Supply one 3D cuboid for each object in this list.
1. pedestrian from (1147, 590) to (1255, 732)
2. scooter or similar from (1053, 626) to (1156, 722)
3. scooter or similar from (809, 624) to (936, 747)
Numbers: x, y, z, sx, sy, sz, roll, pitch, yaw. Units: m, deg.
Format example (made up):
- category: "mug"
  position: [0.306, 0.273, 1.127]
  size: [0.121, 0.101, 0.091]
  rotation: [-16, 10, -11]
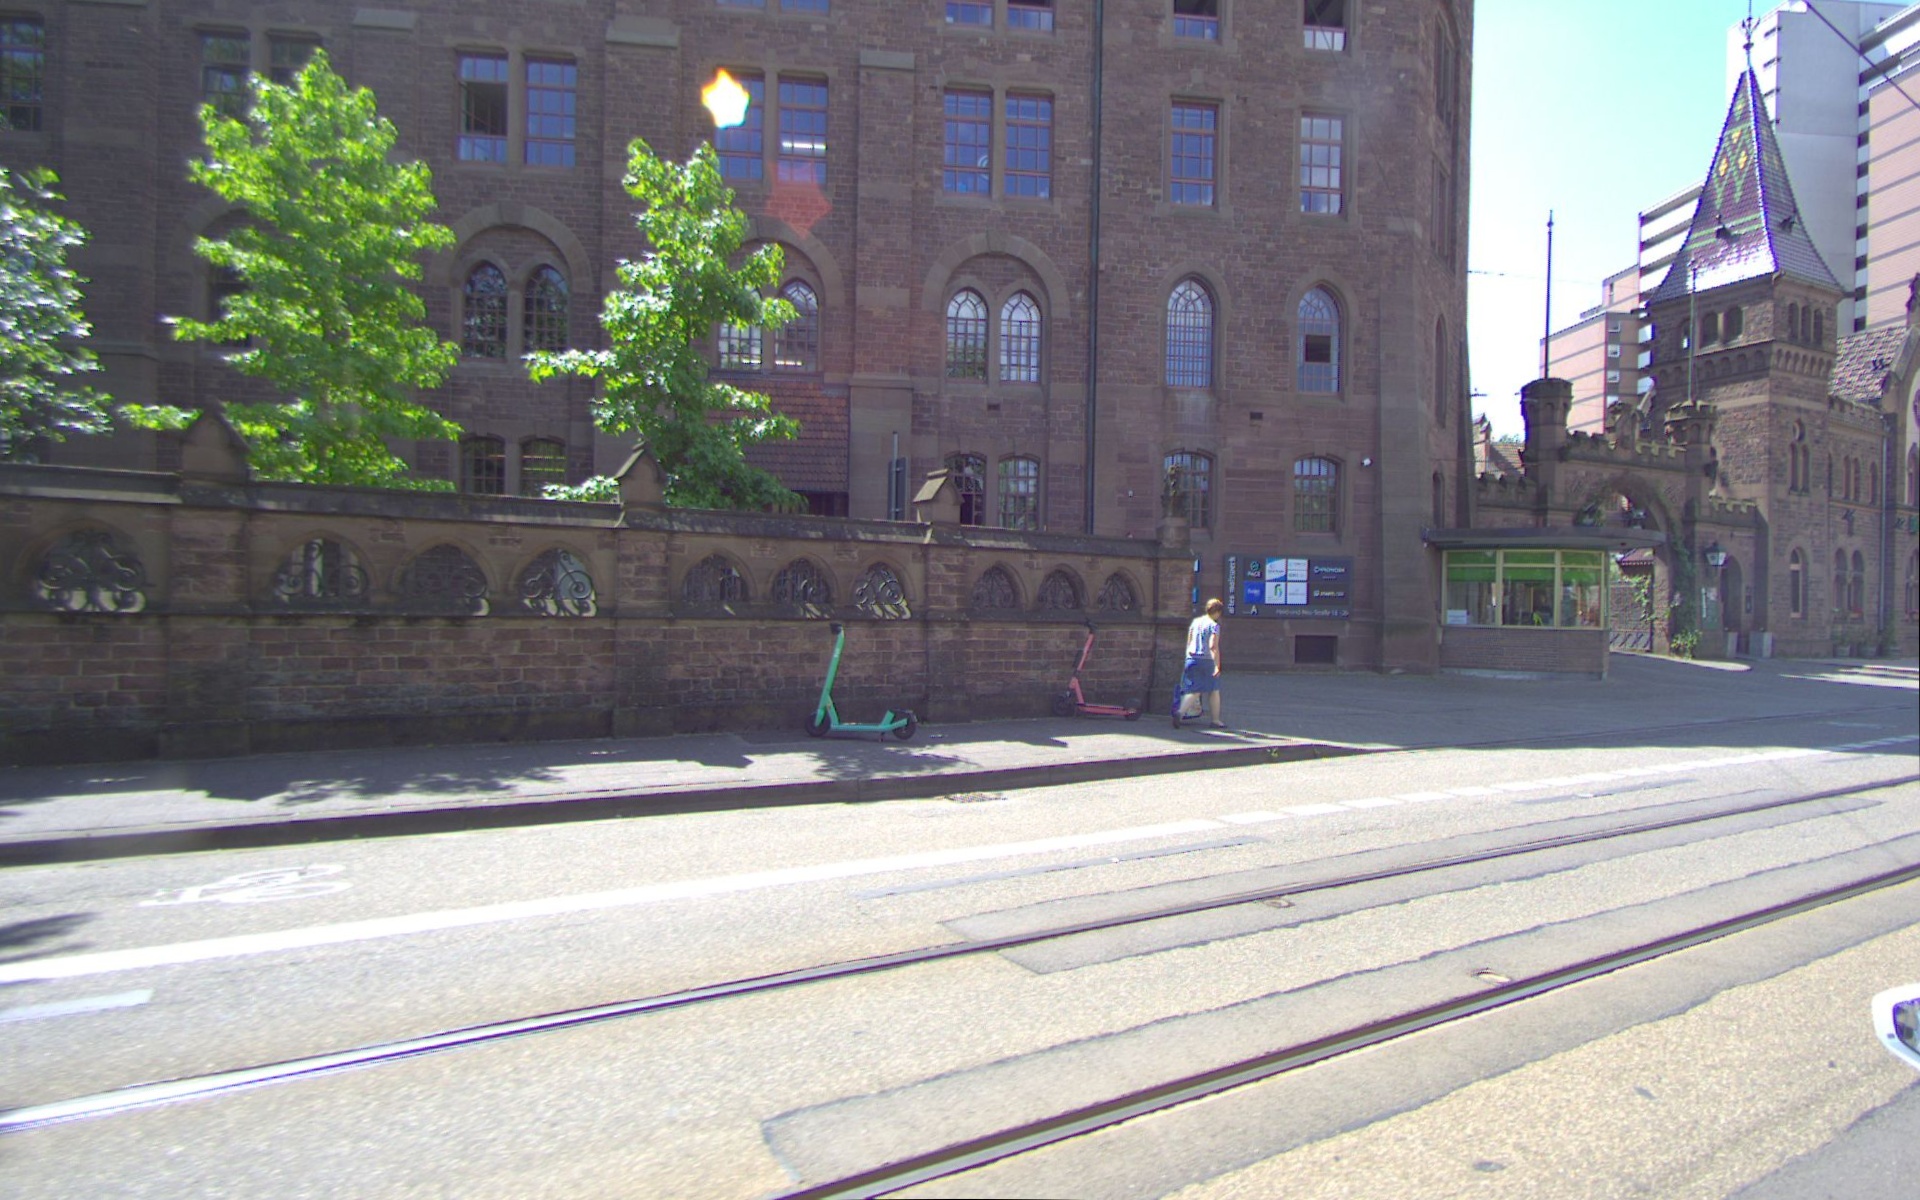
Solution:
- category: "pedestrian"
  position: [2.911, 0.709, 12.168]
  size: [0.909, 1.610, 0.795]
  rotation: [1, 2, -30]
- category: "scooter or similar"
  position: [1.784, 0.911, 12.487]
  size: [1.199, 1.142, 0.329]
  rotation: [2, 1, -2]
- category: "scooter or similar"
  position: [-0.896, 0.859, 10.285]
  size: [1.200, 1.142, 0.349]
  rotation: [3, 1, 14]
